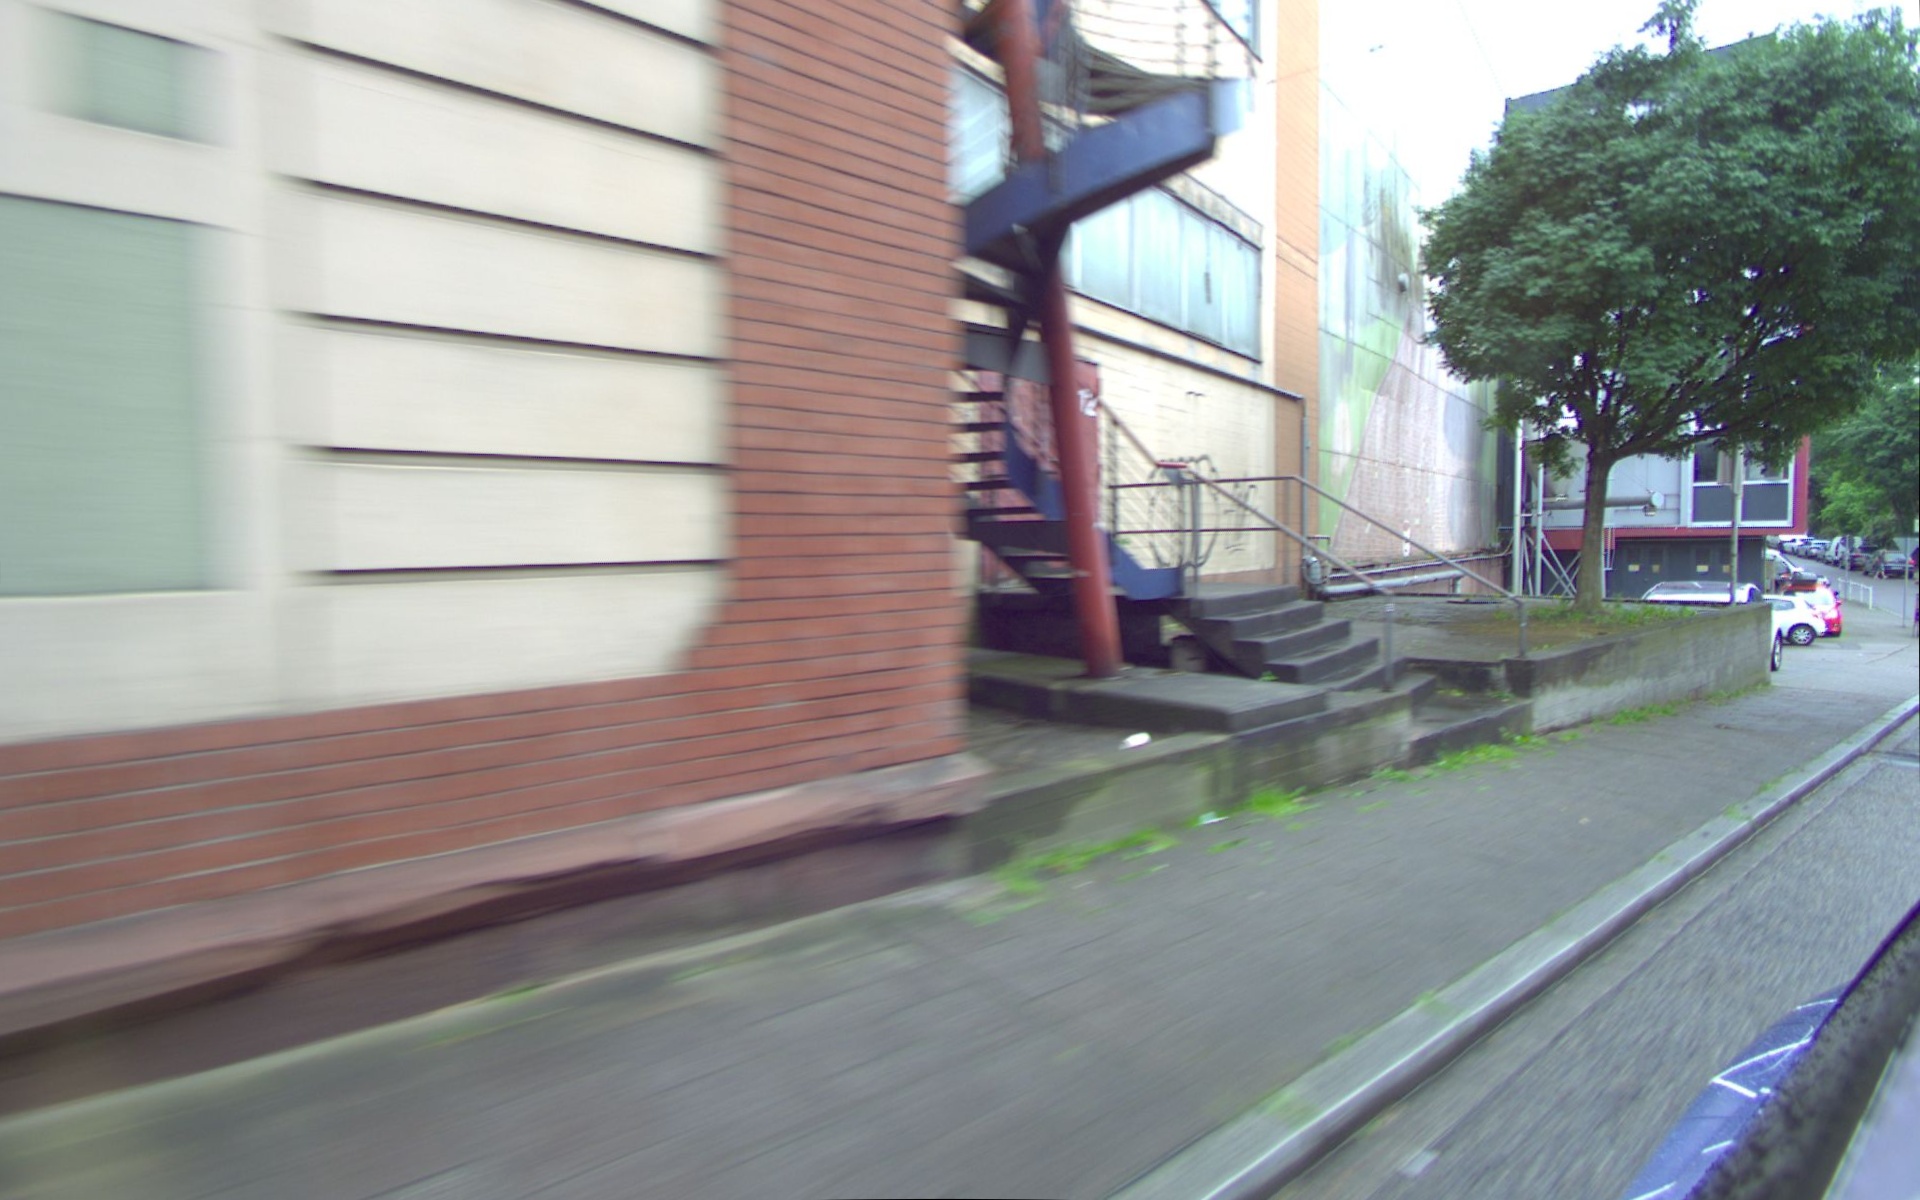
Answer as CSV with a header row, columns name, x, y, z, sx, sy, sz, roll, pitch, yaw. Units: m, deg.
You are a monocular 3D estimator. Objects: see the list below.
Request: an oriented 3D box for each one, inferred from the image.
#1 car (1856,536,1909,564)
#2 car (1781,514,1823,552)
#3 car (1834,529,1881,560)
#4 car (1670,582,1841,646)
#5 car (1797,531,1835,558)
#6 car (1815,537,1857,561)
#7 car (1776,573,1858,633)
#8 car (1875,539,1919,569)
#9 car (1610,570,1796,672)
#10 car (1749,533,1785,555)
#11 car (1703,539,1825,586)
name,x,y,z,sx,sy,sz,roll,pitch,yaw
car,59.997,-3.304,65.864,1.896,1.670,3.955,2,5,34
car,74.525,-5.964,89.613,2.208,3.321,5.022,2,5,34
car,63.719,-3.959,71.910,1.896,2.099,3.955,2,5,34
car,24.495,0.386,31.373,3.969,1.551,1.852,5,5,35
car,70.253,-4.576,83.091,1.896,2.058,3.955,2,5,34
car,67.154,-3.955,77.620,1.896,1.670,3.955,2,5,34
car,29.225,0.030,34.617,1.923,1.732,4.431,3,4,38
car,56.185,-2.766,60.225,1.896,1.670,3.955,2,5,34
car,13.928,0.349,18.851,4.831,1.637,1.856,1,1,-42
car,78.195,-5.464,98.100,1.890,2.058,3.966,1,5,27
car,42.363,-2.038,53.399,4.876,2.236,1.856,5,7,42
